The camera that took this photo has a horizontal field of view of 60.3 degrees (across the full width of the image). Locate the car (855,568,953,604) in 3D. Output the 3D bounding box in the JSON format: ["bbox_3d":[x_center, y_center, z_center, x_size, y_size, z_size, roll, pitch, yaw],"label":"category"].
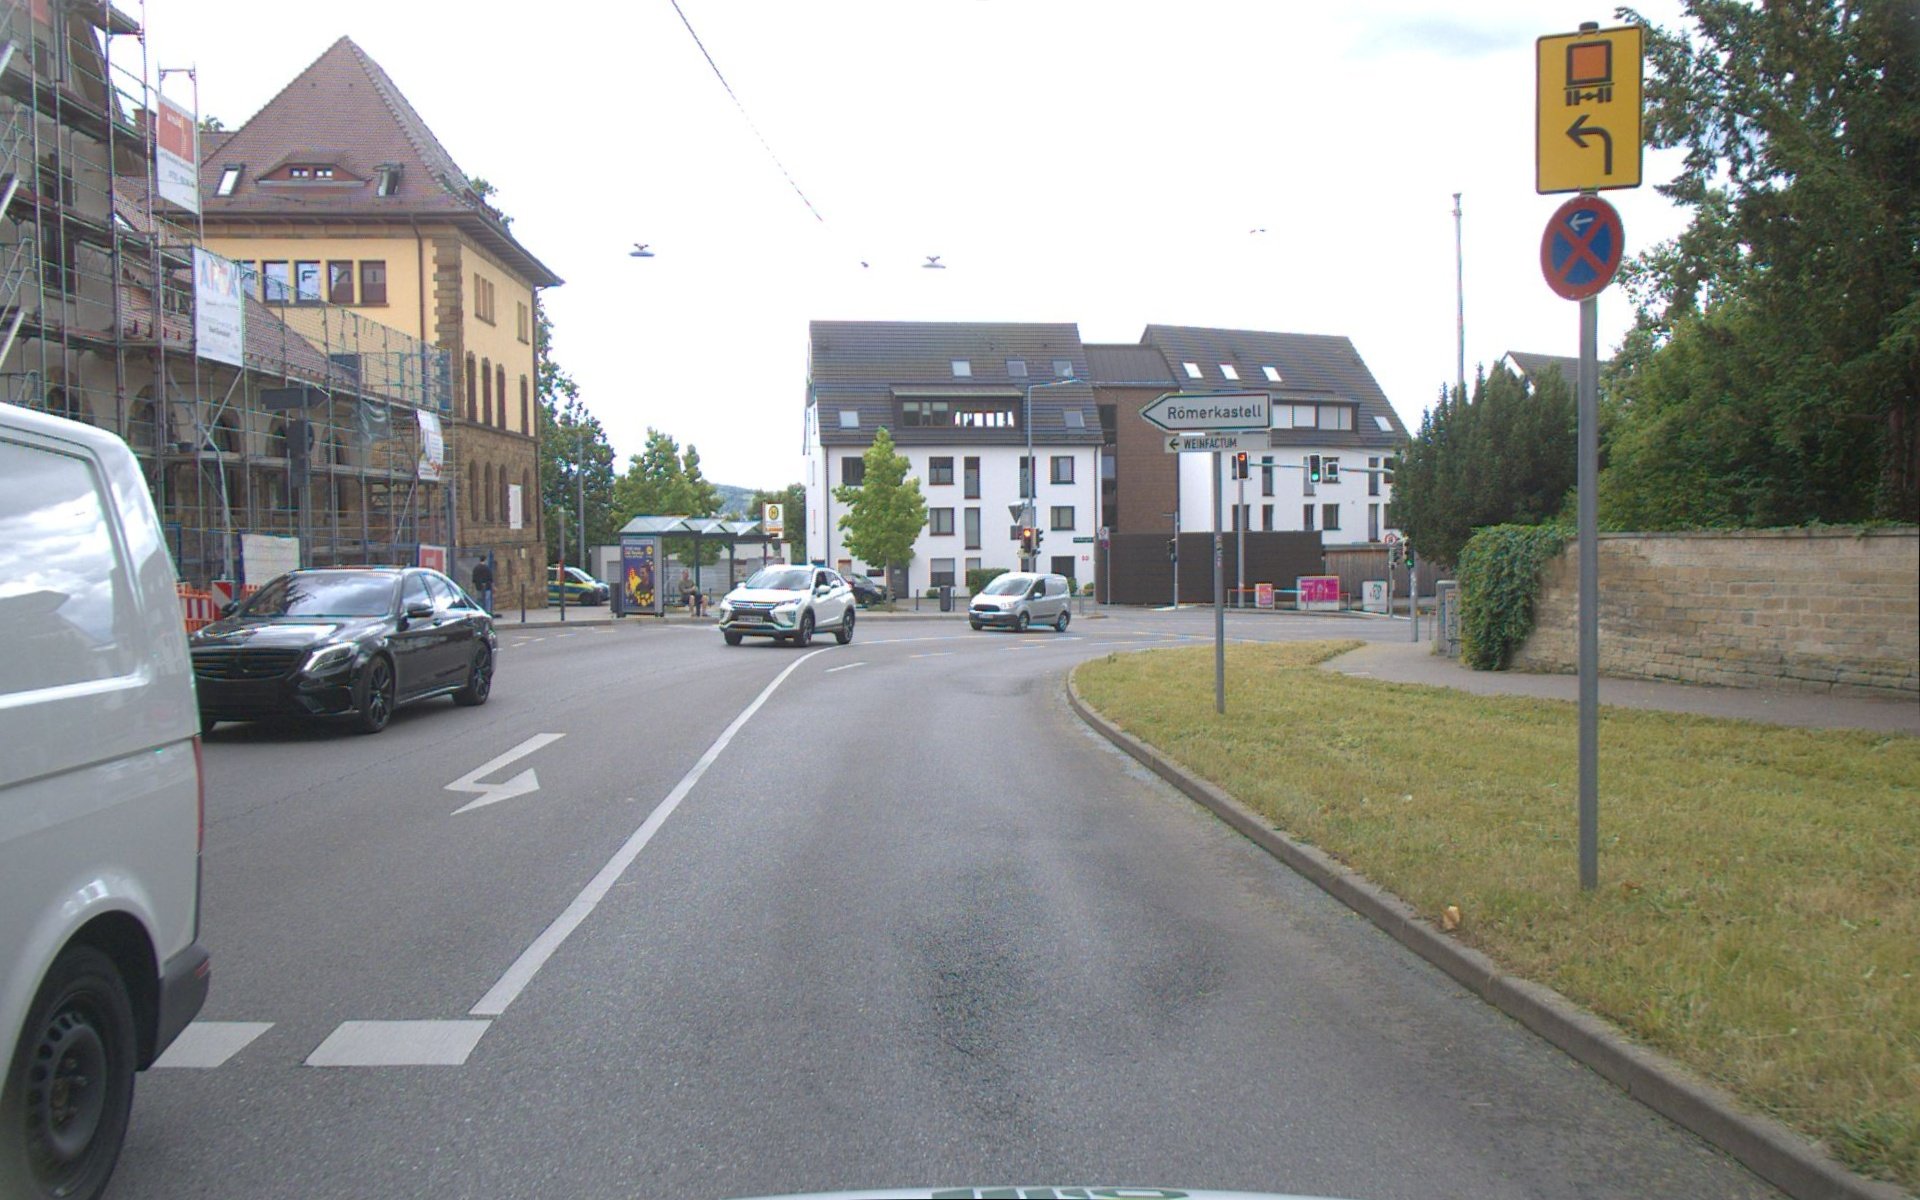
[{"bbox_3d":[-2.629,-0.663,77.477,4.179,1.539,1.997,2,0,29],"label":"car"}]

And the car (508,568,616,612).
[{"bbox_3d":[-20.067,-0.516,83.539,4.971,2.049,2.000,1,0,-1],"label":"car"}]

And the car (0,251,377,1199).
[{"bbox_3d":[-2.689,0.409,2.166,2.161,1.965,5.238,-1,1,-3],"label":"car"}]

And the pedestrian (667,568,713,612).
[{"bbox_3d":[-7.673,-0.280,47.081,0.914,1.213,0.905,1,0,25],"label":"pedestrian"}]

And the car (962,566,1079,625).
[{"bbox_3d":[1.822,-0.111,48.941,1.662,1.642,4.073,1,0,31],"label":"car"}]

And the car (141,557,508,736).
[{"bbox_3d":[-6.086,0.355,16.552,1.765,1.498,4.849,-1,1,0],"label":"car"}]

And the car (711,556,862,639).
[{"bbox_3d":[-3.593,-0.021,35.154,1.753,1.639,4.512,0,-1,14],"label":"car"}]

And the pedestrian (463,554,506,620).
[{"bbox_3d":[-12.935,-0.347,44.980,0.904,1.750,0.798,1,0,-1],"label":"pedestrian"}]
